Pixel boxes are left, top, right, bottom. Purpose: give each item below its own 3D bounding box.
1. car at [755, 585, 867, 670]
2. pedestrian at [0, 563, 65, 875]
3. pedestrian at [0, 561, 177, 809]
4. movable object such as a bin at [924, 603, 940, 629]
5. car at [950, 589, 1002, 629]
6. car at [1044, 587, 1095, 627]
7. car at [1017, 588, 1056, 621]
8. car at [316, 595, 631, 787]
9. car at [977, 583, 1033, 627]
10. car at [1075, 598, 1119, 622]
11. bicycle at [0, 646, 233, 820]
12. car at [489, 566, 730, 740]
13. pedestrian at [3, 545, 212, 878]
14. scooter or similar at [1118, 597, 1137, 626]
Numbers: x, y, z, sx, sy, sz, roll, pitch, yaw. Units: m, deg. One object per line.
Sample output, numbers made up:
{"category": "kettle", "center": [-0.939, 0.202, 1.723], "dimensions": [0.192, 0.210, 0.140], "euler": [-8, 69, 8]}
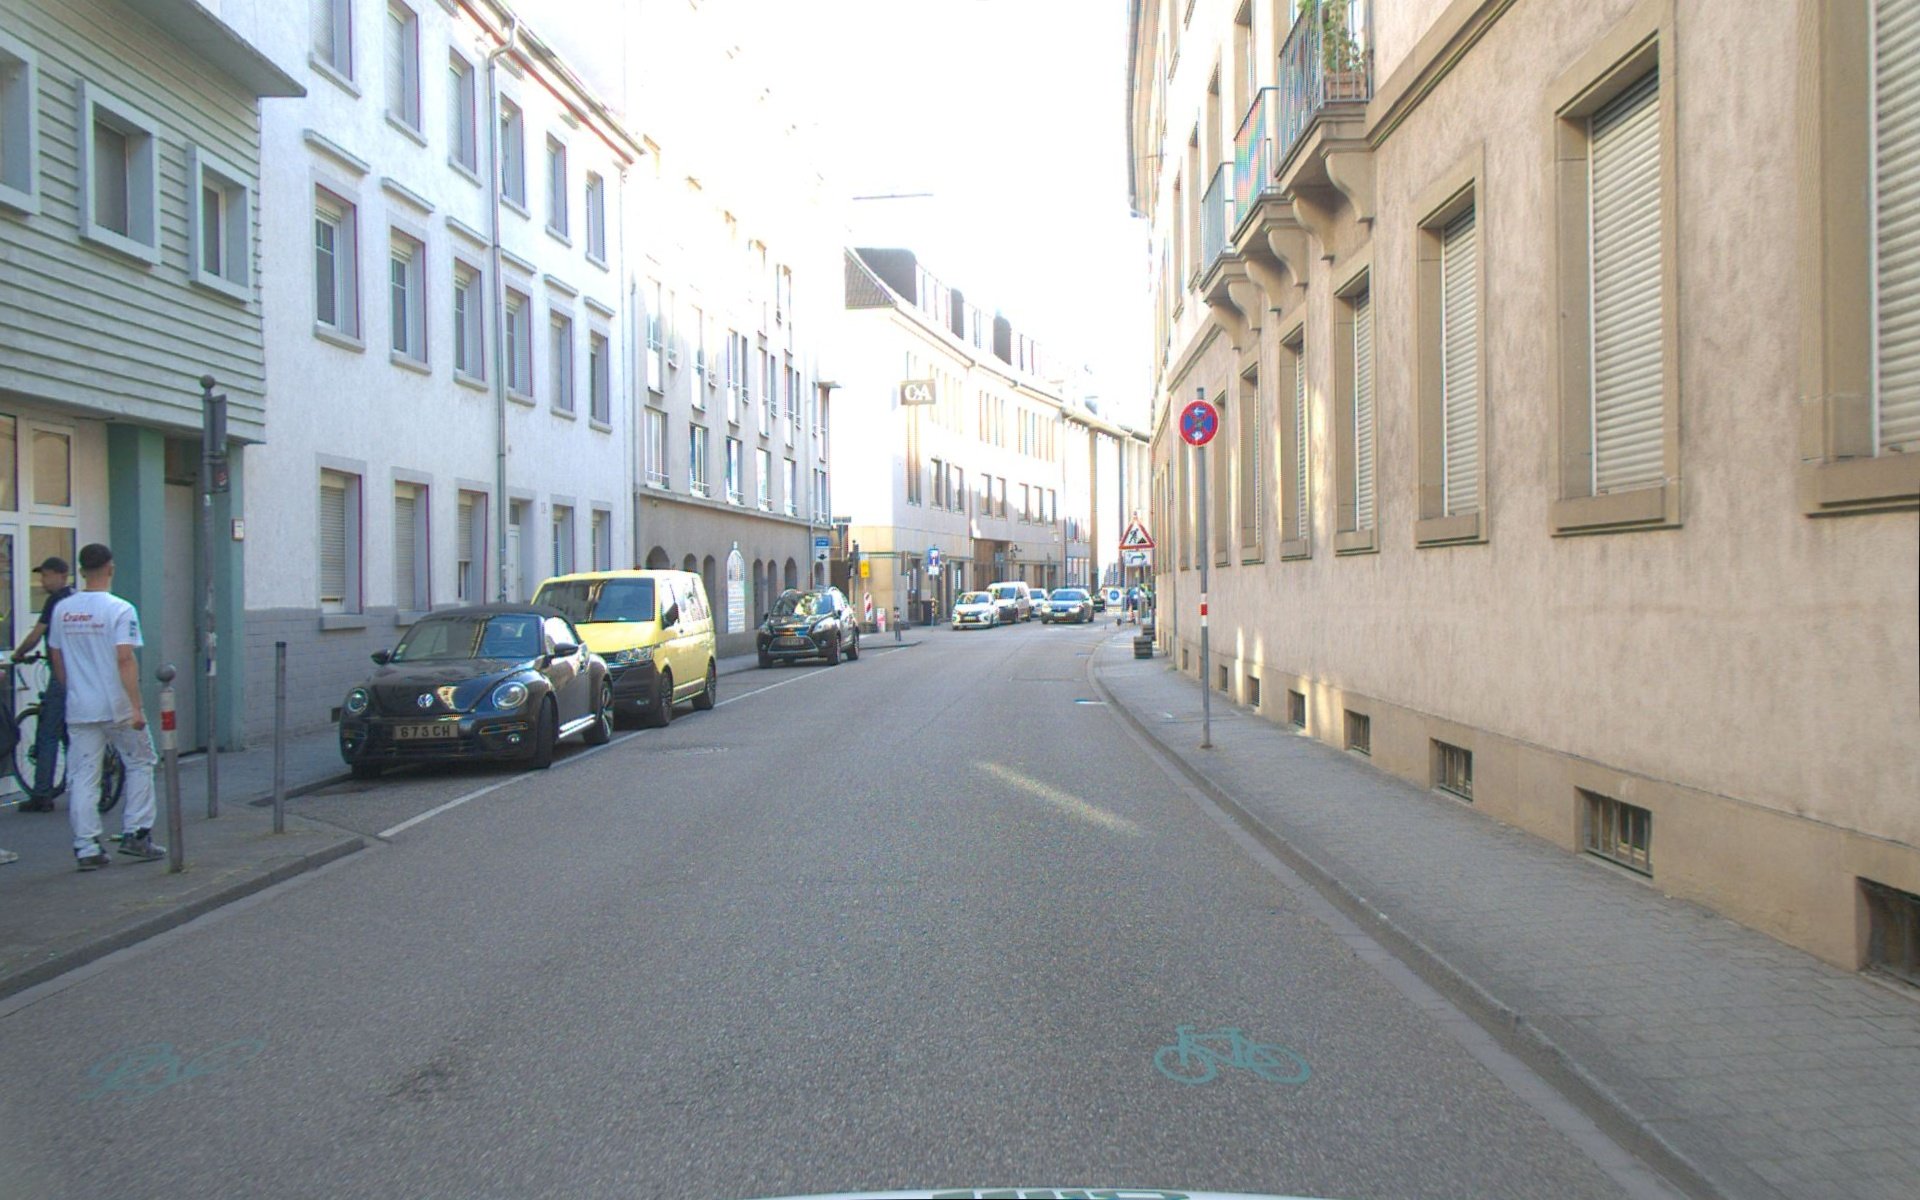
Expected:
{"category": "car", "center": [-3.355, 0.571, 37.917], "dimensions": [1.703, 1.740, 4.193], "euler": [-3, 0, 6]}
{"category": "pedestrian", "center": [-5.578, 0.657, 9.199], "dimensions": [0.659, 1.699, 0.894], "euler": [-2, 0, 0]}
{"category": "pedestrian", "center": [-6.558, 0.605, 12.316], "dimensions": [1.056, 1.759, 0.802], "euler": [-1, 0, 23]}
{"category": "movable object such as a bin", "center": [-1.177, 0.667, 69.748], "dimensions": [0.596, 1.079, 0.713], "euler": [1, 0, 4]}
{"category": "car", "center": [0.675, 0.361, 68.356], "dimensions": [1.635, 1.533, 3.797], "euler": [-2, 0, 8]}
{"category": "car", "center": [4.647, 0.281, 70.886], "dimensions": [1.680, 1.605, 4.188], "euler": [-1, 0, -3]}
{"category": "car", "center": [3.733, 0.205, 80.128], "dimensions": [1.244, 1.533, 3.404], "euler": [-2, 0, 13]}
{"category": "car", "center": [-4.519, 0.763, 16.034], "dimensions": [1.782, 1.512, 4.076], "euler": [-3, 0, 0]}
{"category": "car", "center": [2.050, 0.188, 74.099], "dimensions": [1.635, 1.850, 4.556], "euler": [-2, 0, 12]}
{"category": "car", "center": [8.343, 0.604, 100.278], "dimensions": [1.841, 1.355, 4.103], "euler": [-1, 0, 17]}
{"category": "bicycle", "center": [-6.524, 0.952, 12.303], "dimensions": [2.085, 1.183, 0.823], "euler": [-1, 0, 23]}
{"category": "car", "center": [-4.370, 0.595, 21.436], "dimensions": [1.841, 1.899, 4.865], "euler": [-3, 0, 2]}
{"category": "pedestrian", "center": [-4.770, 0.600, 9.307], "dimensions": [0.683, 1.764, 0.829], "euler": [-2, 0, 0]}
{"category": "scooter or similar", "center": [6.974, 0.480, 68.866], "dimensions": [0.754, 1.156, 0.269], "euler": [2, 0, 10]}
